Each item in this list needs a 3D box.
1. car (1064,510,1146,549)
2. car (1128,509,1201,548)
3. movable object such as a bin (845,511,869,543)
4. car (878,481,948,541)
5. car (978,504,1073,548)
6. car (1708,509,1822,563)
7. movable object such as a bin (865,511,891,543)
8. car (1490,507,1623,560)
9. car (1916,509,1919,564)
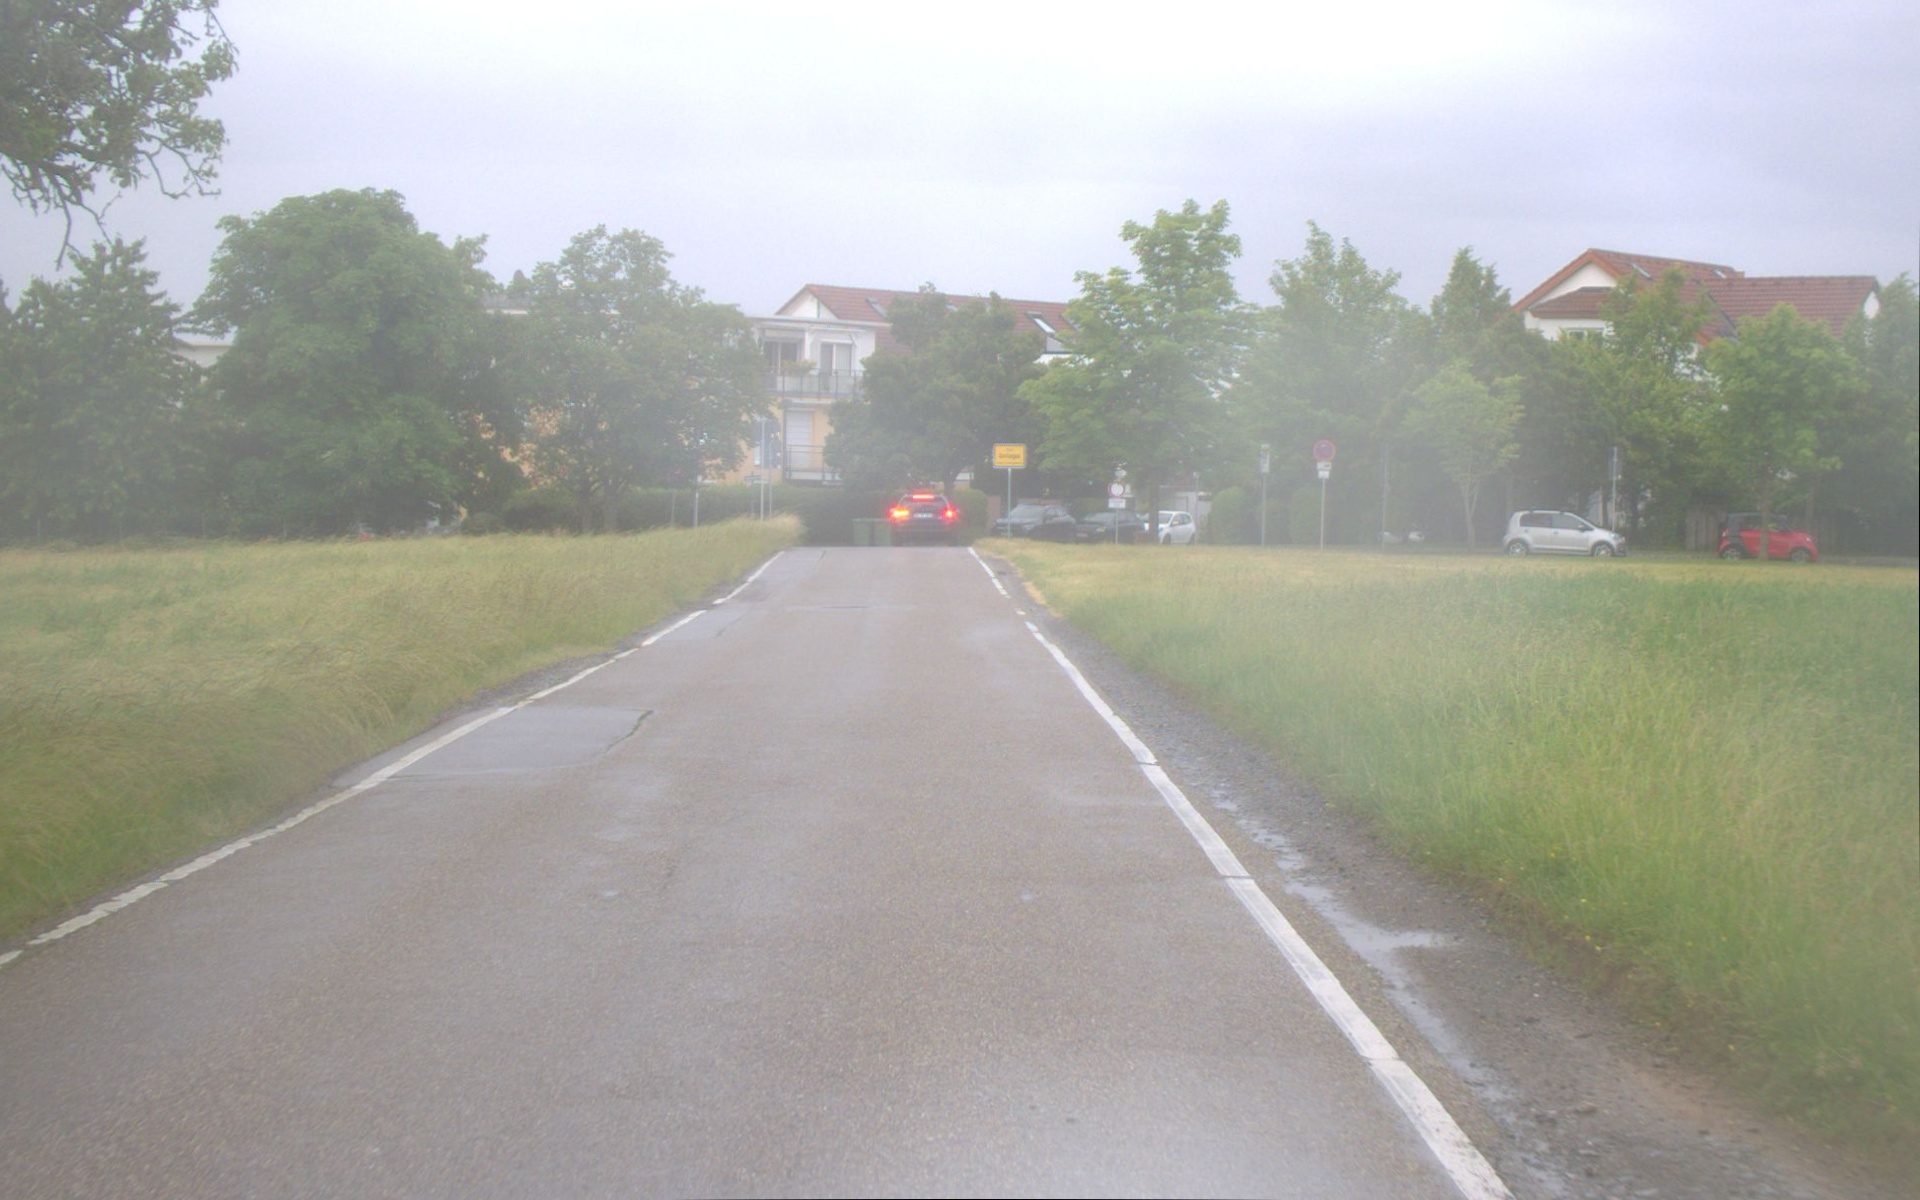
[{"bbox_3d":[5.620,-2.710,132.791,1.638,1.404,3.599,4,2,29],"label":"car"},{"bbox_3d":[8.166,-2.853,137.334,1.513,1.471,3.268,4,2,31],"label":"car"},{"bbox_3d":[-3.494,-2.482,116.514,0.666,1.070,0.543,1,2,21],"label":"movable object such as a bin"},{"bbox_3d":[-1.302,-2.403,93.384,1.686,1.547,3.697,1,1,-4],"label":"car"},{"bbox_3d":[2.456,-2.749,127.689,1.778,1.513,4.131,4,2,28],"label":"car"},{"bbox_3d":[22.786,-1.815,97.250,3.004,1.431,1.552,2,1,17],"label":"car"},{"bbox_3d":[-2.776,-2.465,116.243,0.695,1.071,0.601,1,2,20],"label":"movable object such as a bin"},{"bbox_3d":[17.119,-1.912,98.689,3.546,1.474,1.678,1,1,17],"label":"car"},{"bbox_3d":[28.786,-1.705,95.803,3.979,1.546,1.851,2,1,12],"label":"car"}]
